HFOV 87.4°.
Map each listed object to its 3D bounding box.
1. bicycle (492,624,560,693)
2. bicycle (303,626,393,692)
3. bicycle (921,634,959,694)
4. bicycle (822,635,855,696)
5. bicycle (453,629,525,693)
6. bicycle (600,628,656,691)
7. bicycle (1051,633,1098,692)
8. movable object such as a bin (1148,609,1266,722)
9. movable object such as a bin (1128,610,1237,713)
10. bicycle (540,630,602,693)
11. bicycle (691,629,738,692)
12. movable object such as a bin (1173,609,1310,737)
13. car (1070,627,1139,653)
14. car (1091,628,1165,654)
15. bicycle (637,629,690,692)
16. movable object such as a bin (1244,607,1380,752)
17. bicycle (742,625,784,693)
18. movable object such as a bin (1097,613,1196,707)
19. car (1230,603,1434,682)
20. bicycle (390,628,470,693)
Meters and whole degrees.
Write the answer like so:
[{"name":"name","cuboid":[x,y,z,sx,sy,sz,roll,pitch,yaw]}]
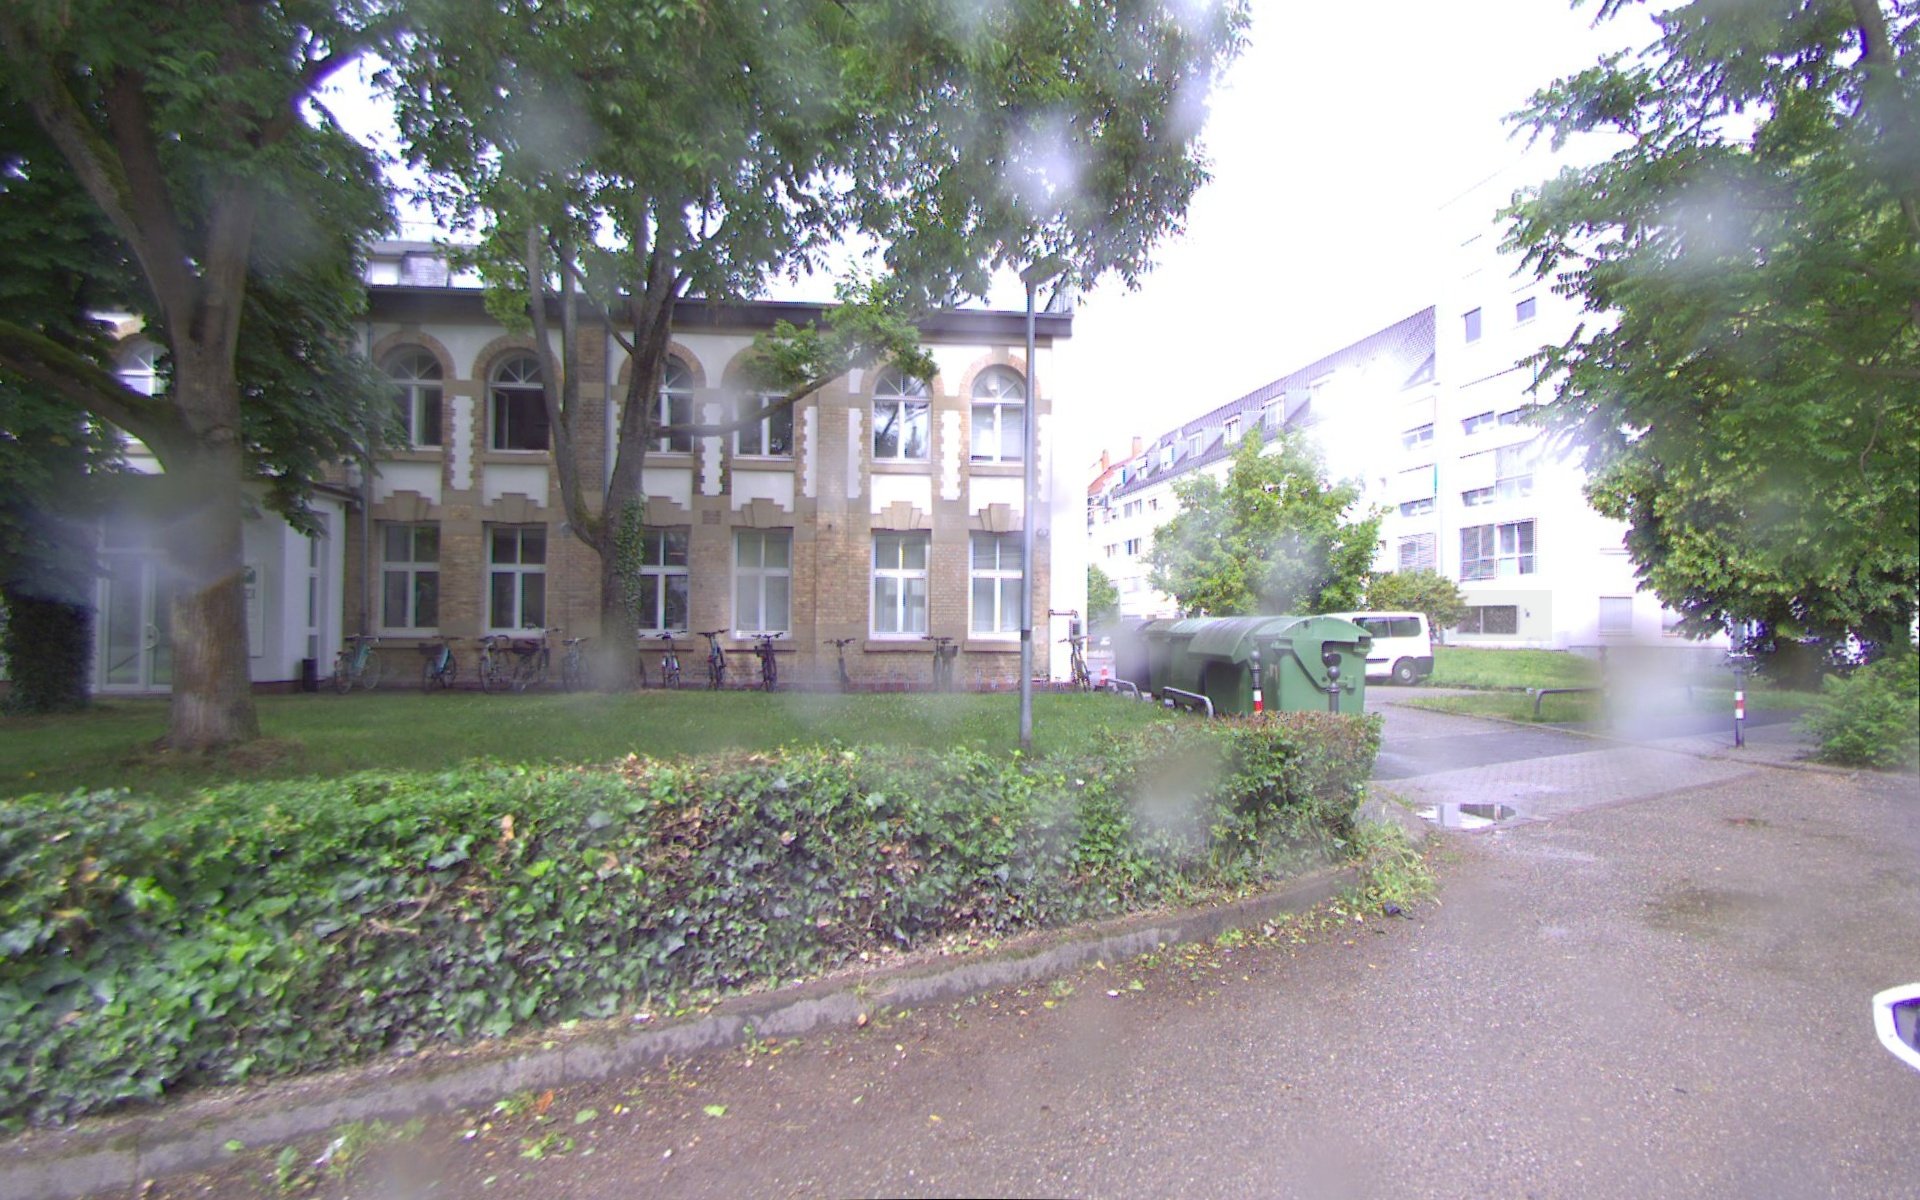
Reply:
[{"name":"bicycle","cuboid":[-8.097,1.066,18.832,0.605,1.192,1.925,0,0,-6]},{"name":"bicycle","cuboid":[-11.121,1.061,18.325,0.605,1.130,1.925,0,-2,-6]},{"name":"bicycle","cuboid":[-0.410,1.242,19.847,0.605,1.130,1.787,0,-2,-6]},{"name":"bicycle","cuboid":[-2.354,1.260,19.617,0.605,1.130,1.787,0,-2,-6]},{"name":"bicycle","cuboid":[-8.787,1.118,18.820,0.605,1.130,1.925,0,-2,-6]},{"name":"bicycle","cuboid":[-6.301,1.119,19.157,0.605,1.130,1.925,0,-2,-6]},{"name":"bicycle","cuboid":[2.287,1.237,20.205,0.605,1.130,1.519,0,-2,-6]},{"name":"movable object such as a bin","cuboid":[3.471,0.895,14.231,1.147,1.503,1.400,1,-1,-10]},{"name":"movable object such as a bin","cuboid":[3.448,0.943,15.717,1.147,1.502,1.494,-1,-2,-11]},{"name":"bicycle","cuboid":[-7.318,1.141,18.973,0.605,1.130,1.925,0,-2,-6]},{"name":"bicycle","cuboid":[-4.697,1.147,19.328,0.605,1.130,1.925,0,-2,-6]},{"name":"movable object such as a bin","cuboid":[3.549,0.891,12.802,1.148,1.503,1.399,1,0,-12]},{"name":"car","cuboid":[9.046,2.512,62.916,3.854,1.533,1.815,0,-2,-13]},{"name":"car","cuboid":[9.970,2.399,59.638,3.929,1.477,1.770,0,-2,-12]},{"name":"bicycle","cuboid":[-5.626,1.125,19.151,0.605,1.130,1.925,0,-2,-6]},{"name":"movable object such as a bin","cuboid":[3.906,0.854,11.288,1.082,1.492,1.486,1,-2,4]},{"name":"bicycle","cuboid":[-3.791,1.125,19.426,0.605,1.240,1.925,0,-2,-6]},{"name":"movable object such as a bin","cuboid":[3.169,1.010,17.270,1.147,1.502,1.592,-1,-2,-11]},{"name":"car","cuboid":[10.035,1.161,27.334,4.796,1.951,2.099,1,-2,-4]},{"name":"bicycle","cuboid":[-9.717,1.089,18.495,0.605,1.130,1.925,0,-2,-6]}]
